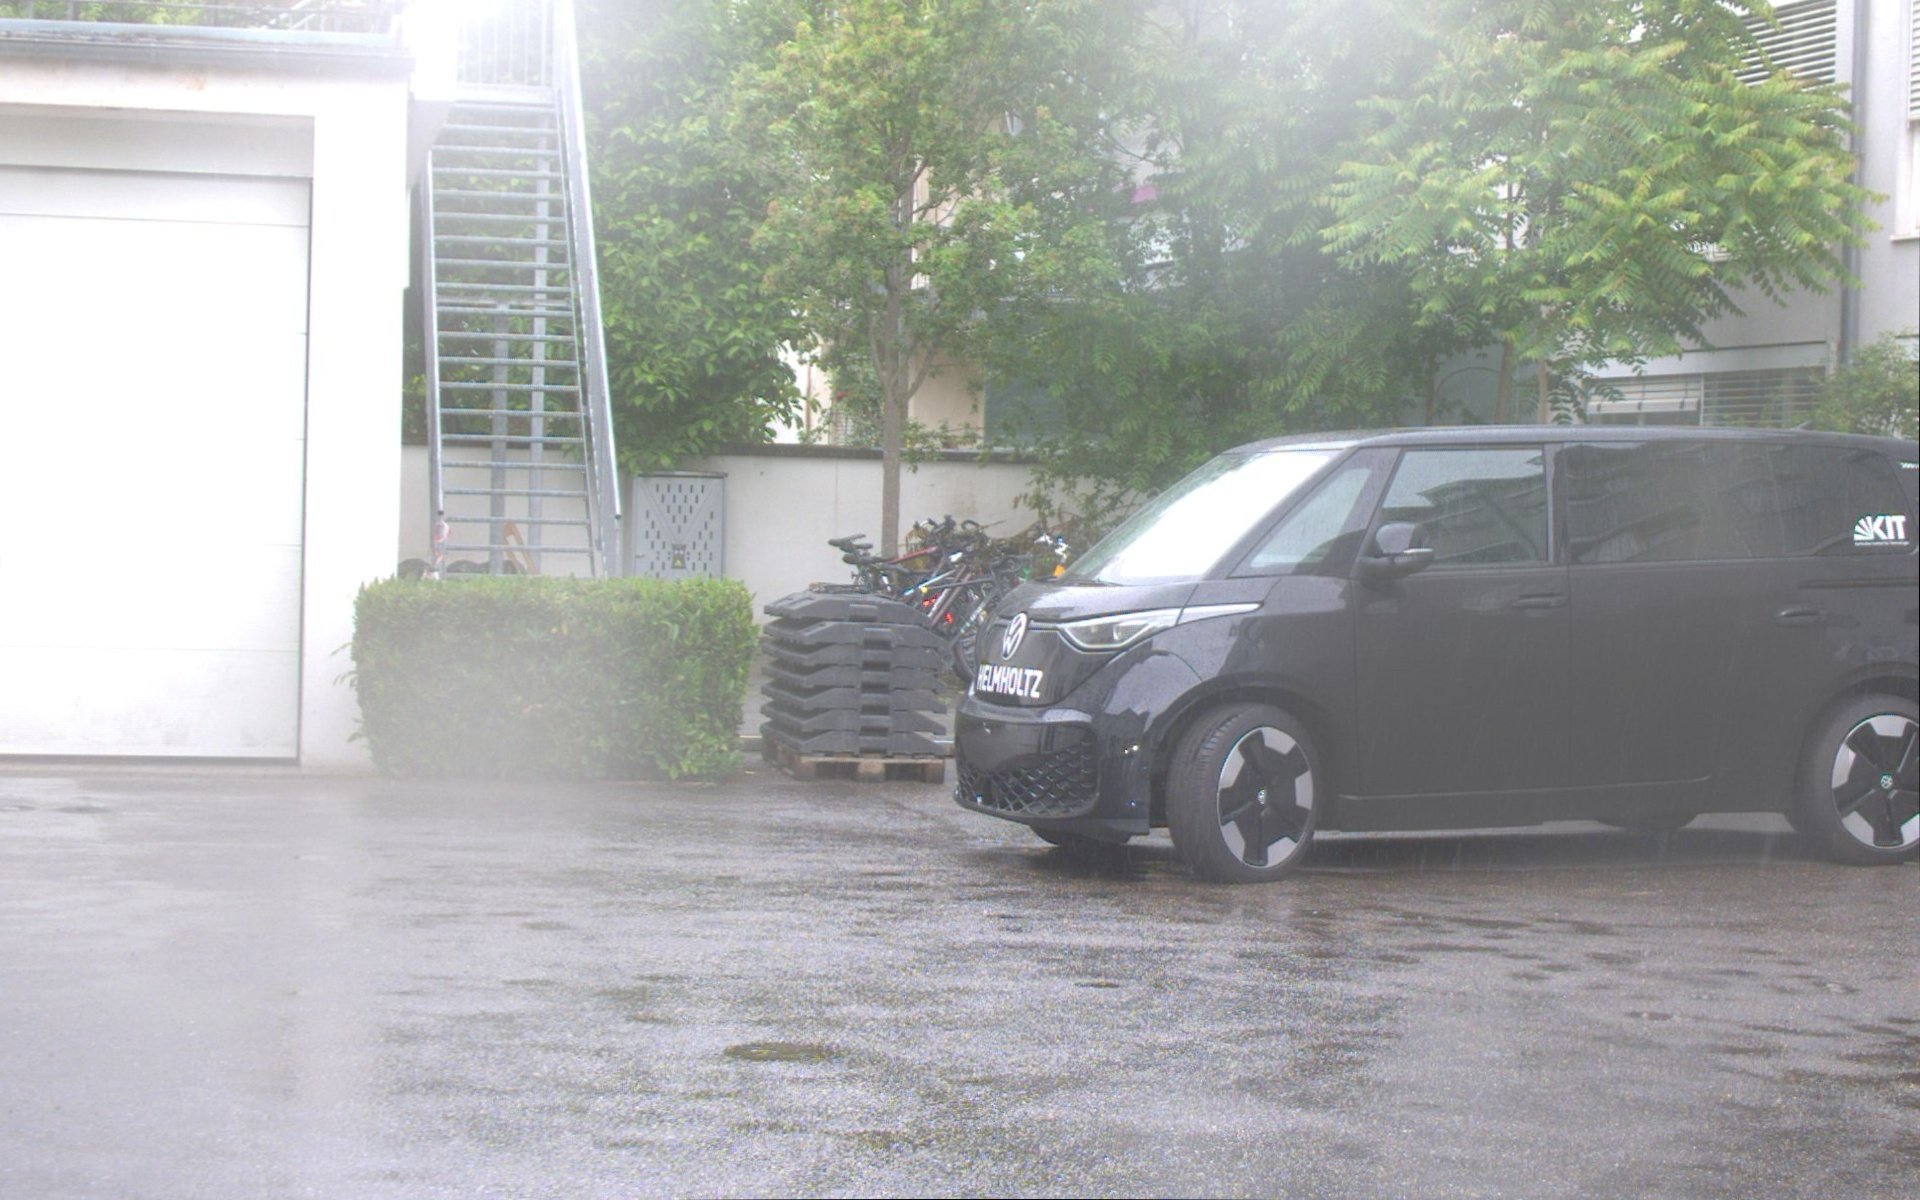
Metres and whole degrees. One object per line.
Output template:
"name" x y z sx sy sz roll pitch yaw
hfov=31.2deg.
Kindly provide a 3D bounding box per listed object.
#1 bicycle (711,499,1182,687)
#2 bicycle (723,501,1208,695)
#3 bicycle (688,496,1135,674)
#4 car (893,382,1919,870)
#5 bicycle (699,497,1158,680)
"bicycle" -0.087 -0.043 24.071 3.213 1.237 0.631 1 1 -14
"bicycle" 0.042 -0.009 23.383 3.213 1.237 0.631 1 1 -14
"bicycle" -0.352 -0.108 25.369 3.213 1.237 0.631 1 1 -14
"car" 2.186 0.108 15.029 4.506 1.891 2.047 1 1 -19
"bicycle" -0.219 -0.076 24.730 3.213 1.237 0.631 1 1 -14
